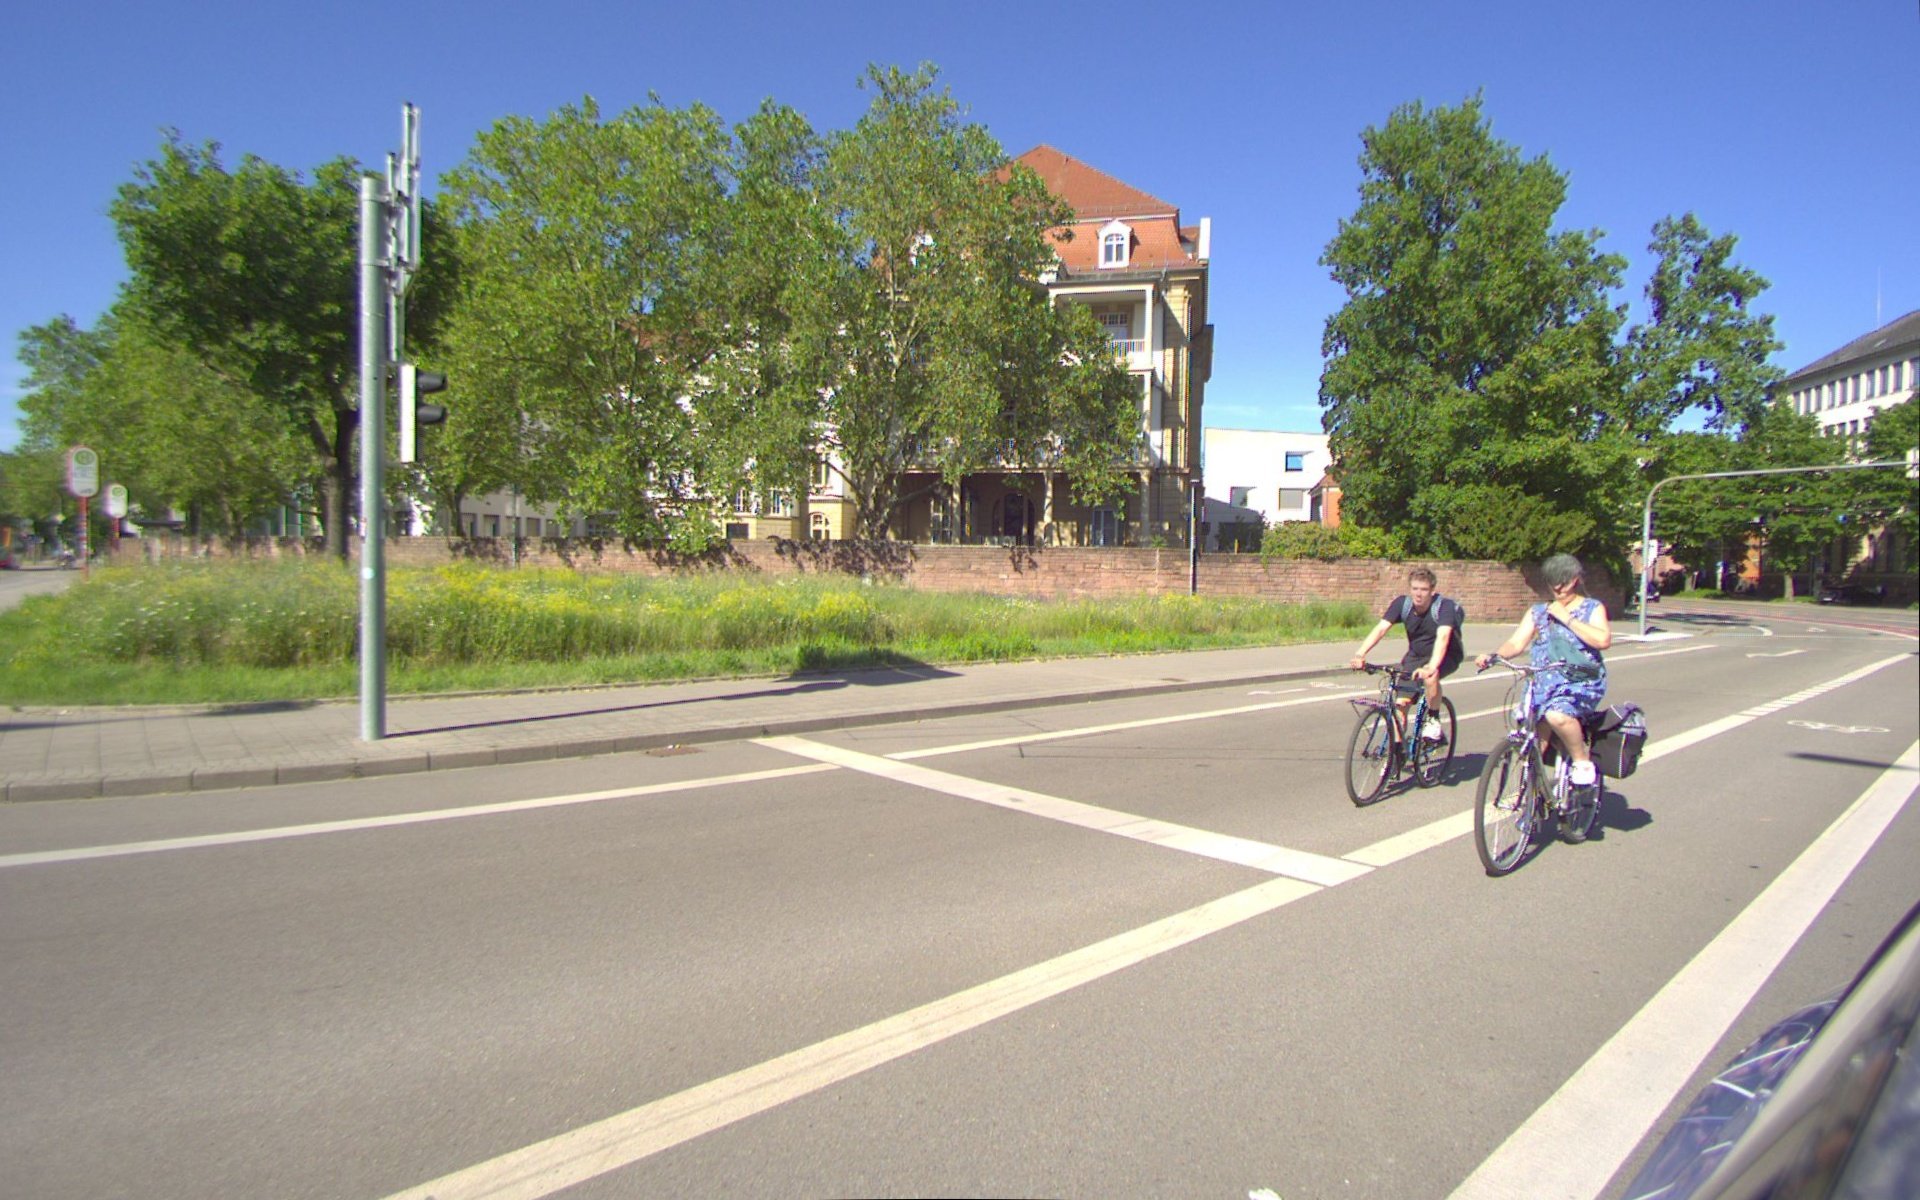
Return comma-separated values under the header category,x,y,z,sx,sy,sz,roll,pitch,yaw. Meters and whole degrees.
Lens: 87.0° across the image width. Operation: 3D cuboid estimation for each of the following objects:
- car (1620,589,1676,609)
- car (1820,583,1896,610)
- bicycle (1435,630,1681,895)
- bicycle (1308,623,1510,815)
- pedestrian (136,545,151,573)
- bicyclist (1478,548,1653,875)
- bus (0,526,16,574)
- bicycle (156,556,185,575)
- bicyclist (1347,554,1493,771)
category,x,y,z,sx,sy,sz,roll,pitch,yaw
car,51.730,-0.100,76.163,1.969,1.491,4.283,-1,1,12
car,65.955,-0.255,74.370,3.730,1.838,2.000,1,2,2
bicycle,3.431,0.806,5.727,1.934,1.179,0.642,-1,1,-42
bicycle,3.302,0.782,7.352,1.838,1.180,0.642,0,1,-42
pedestrian,-47.633,-2.390,59.060,0.642,1.631,0.557,-1,0,-43
bicyclist,3.407,0.558,5.694,0.763,1.683,0.642,-1,2,-42
bus,-71.765,-3.649,74.513,6.235,3.314,2.941,0,0,44
bicycle,-47.463,-2.083,60.850,2.071,1.090,0.786,0,0,34
bicyclist,3.364,0.414,7.387,0.937,1.462,0.642,0,0,-42
